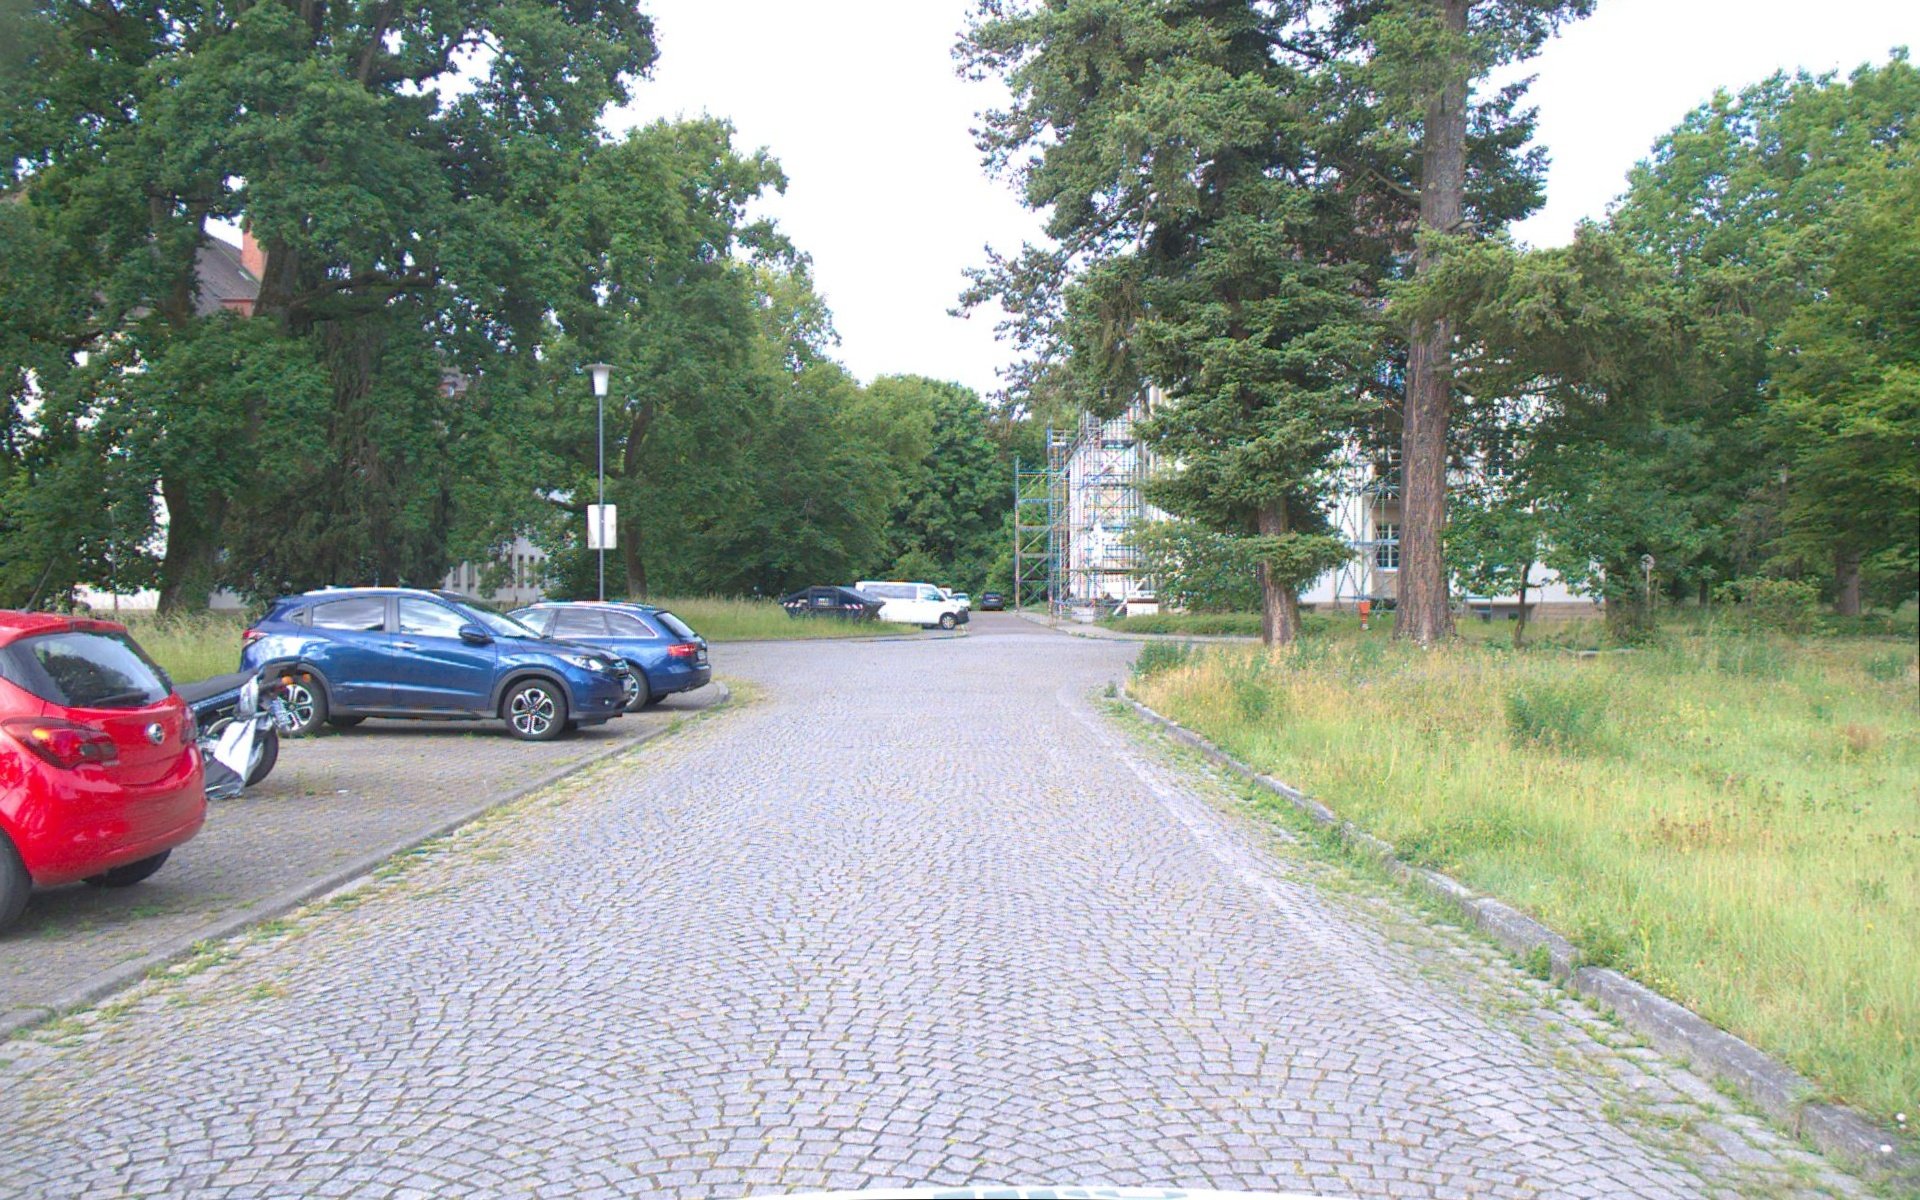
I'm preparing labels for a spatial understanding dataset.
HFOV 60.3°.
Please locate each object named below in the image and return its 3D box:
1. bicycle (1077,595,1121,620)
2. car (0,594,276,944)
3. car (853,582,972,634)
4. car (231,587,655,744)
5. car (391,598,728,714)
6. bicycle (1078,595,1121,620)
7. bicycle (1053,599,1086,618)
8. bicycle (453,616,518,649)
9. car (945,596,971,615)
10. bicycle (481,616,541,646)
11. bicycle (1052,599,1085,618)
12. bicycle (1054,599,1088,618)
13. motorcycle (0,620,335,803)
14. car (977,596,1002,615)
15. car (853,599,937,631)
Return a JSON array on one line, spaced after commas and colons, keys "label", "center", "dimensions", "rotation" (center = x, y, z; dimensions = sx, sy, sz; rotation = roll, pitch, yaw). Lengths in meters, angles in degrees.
[{"label": "bicycle", "center": [7.155, 0.373, 85.135], "dimensions": [2.194, 1.276, 0.778], "rotation": [0, 0, 2]}, {"label": "car", "center": [-5.806, 0.759, 8.257], "dimensions": [3.973, 1.552, 1.904], "rotation": [0, 0, -2]}, {"label": "car", "center": [-2.087, 0.338, 72.084], "dimensions": [5.130, 2.206, 1.999], "rotation": [0, 0, -3]}, {"label": "car", "center": [-5.650, 0.692, 18.498], "dimensions": [4.143, 1.604, 1.886], "rotation": [1, 0, -2]}, {"label": "car", "center": [-5.528, 0.750, 23.229], "dimensions": [4.214, 1.486, 1.975], "rotation": [1, 0, 1]}, {"label": "bicycle", "center": [7.351, 0.386, 87.048], "dimensions": [2.194, 1.276, 0.778], "rotation": [0, 0, 2]}, {"label": "bicycle", "center": [7.303, 0.564, 110.100], "dimensions": [2.194, 1.276, 0.698], "rotation": [0, 0, 2]}, {"label": "bicycle", "center": [-15.007, 1.023, 52.350], "dimensions": [1.931, 1.007, 0.622], "rotation": [0, 0, -23]}, {"label": "car", "center": [-0.174, 0.457, 138.096], "dimensions": [2.076, 1.548, 3.999], "rotation": [0, 0, -1]}, {"label": "bicycle", "center": [-15.309, 1.057, 56.411], "dimensions": [1.922, 1.007, 0.625], "rotation": [0, 0, -11]}, {"label": "bicycle", "center": [7.304, 0.570, 110.945], "dimensions": [2.194, 1.276, 0.634], "rotation": [0, 0, 2]}, {"label": "bicycle", "center": [7.288, 0.555, 108.673], "dimensions": [2.194, 1.276, 0.627], "rotation": [0, 0, 2]}, {"label": "motorcycle", "center": [-6.073, 0.835, 12.730], "dimensions": [2.227, 1.314, 0.719], "rotation": [1, 0, 0]}, {"label": "car", "center": [2.448, 0.429, 138.418], "dimensions": [1.912, 1.548, 3.998], "rotation": [0, 0, -2]}, {"label": "car", "center": [-2.945, 0.658, 74.667], "dimensions": [3.713, 1.420, 1.999], "rotation": [0, 0, -3]}]
